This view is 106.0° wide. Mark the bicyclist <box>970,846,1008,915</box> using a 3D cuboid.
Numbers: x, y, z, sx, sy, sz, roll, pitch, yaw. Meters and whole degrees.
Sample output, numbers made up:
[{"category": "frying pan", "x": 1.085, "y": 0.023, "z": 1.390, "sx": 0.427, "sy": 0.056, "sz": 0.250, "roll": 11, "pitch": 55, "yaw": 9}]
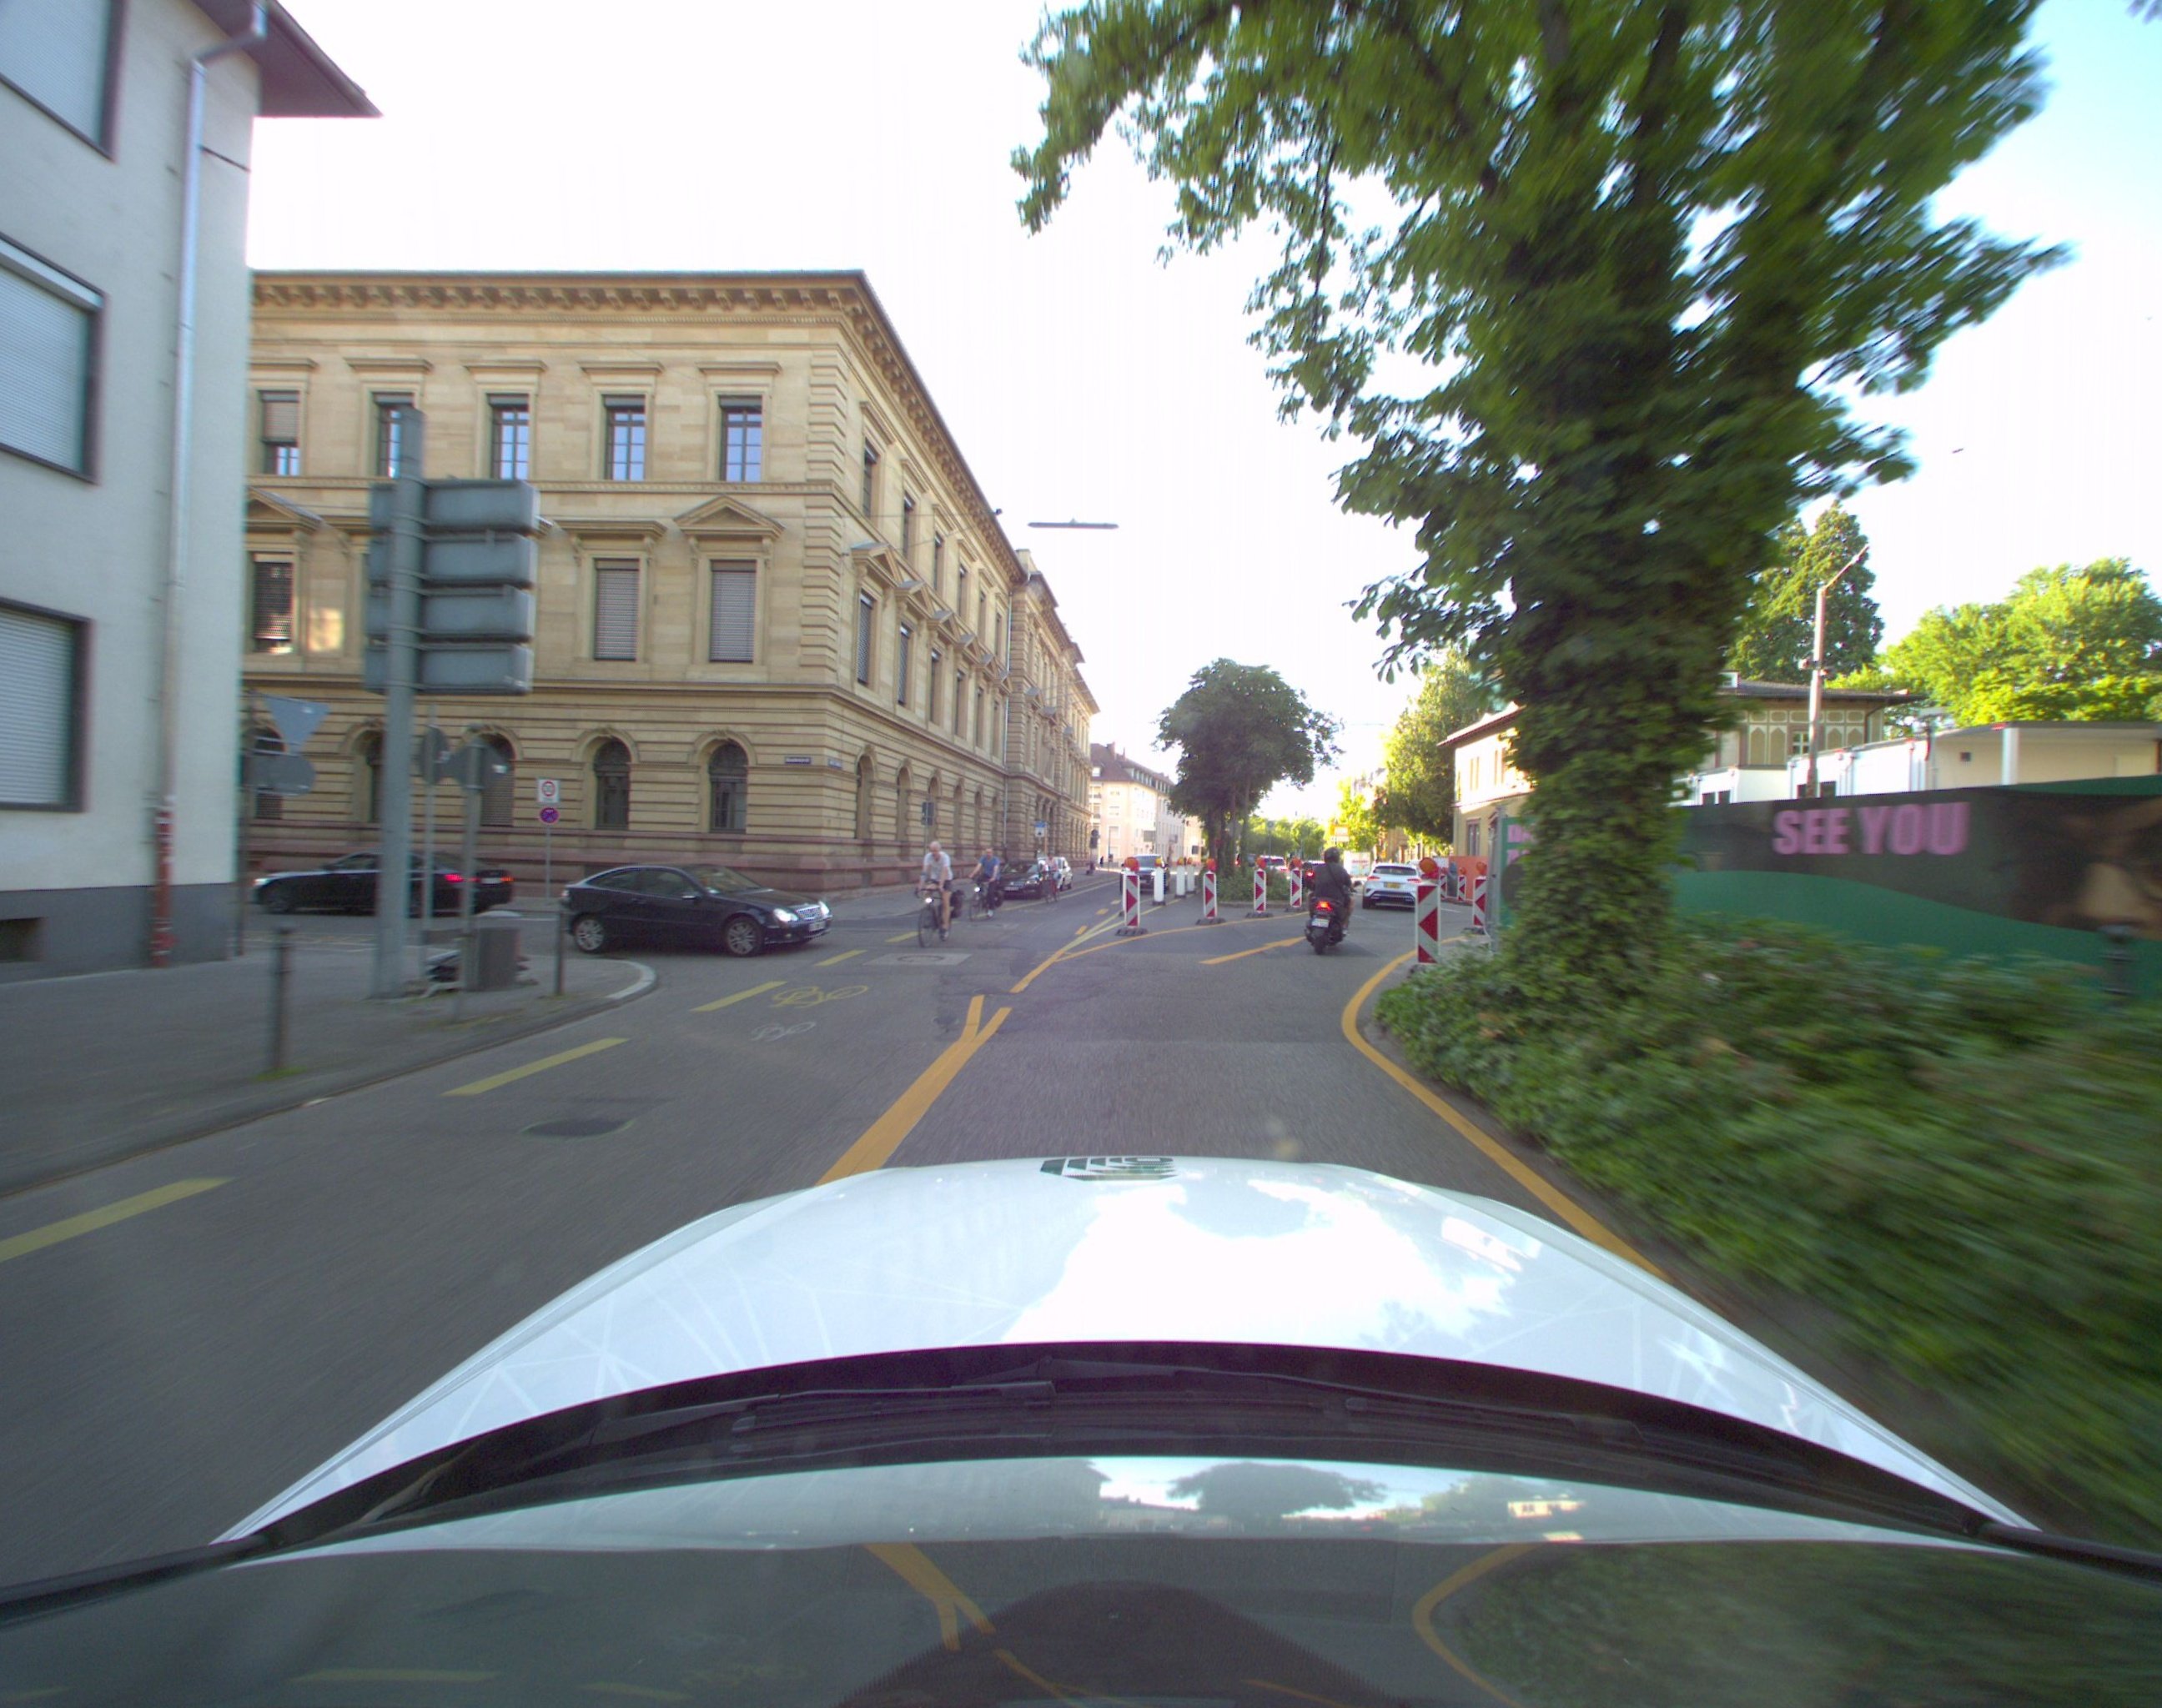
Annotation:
[{"category": "bicyclist", "x": -2.200, "y": 0.630, "z": 19.603, "sx": 0.624, "sy": 1.613, "sz": 0.873, "roll": 0, "pitch": 0, "yaw": 14}]

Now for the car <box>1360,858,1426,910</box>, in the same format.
[{"category": "car", "x": 10.164, "y": 0.903, "z": 26.367, "sx": 1.834, "sy": 1.480, "sz": 4.080, "roll": -1, "pitch": 0, "yaw": 23}]

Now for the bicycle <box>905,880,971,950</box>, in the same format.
[{"category": "bicycle", "x": -2.436, "y": 1.018, "z": 14.119, "sx": 0.580, "sy": 1.035, "sz": 2.132, "roll": 0, "pitch": 0, "yaw": 5}]

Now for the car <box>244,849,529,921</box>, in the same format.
[{"category": "car", "x": -14.795, "y": 0.626, "z": 17.565, "sx": 4.446, "sy": 1.461, "sz": 1.773, "roll": 0, "pitch": 0, "yaw": -4}]

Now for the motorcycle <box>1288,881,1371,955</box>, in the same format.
[{"category": "motorcycle", "x": 4.049, "y": 0.997, "z": 13.175, "sx": 0.789, "sy": 1.066, "sz": 1.736, "roll": 2, "pitch": 0, "yaw": 33}]

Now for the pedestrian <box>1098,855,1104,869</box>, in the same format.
[{"category": "pedestrian", "x": 2.244, "y": 0.906, "z": 90.728, "sx": 0.663, "sy": 1.553, "sz": 0.650, "roll": 0, "pitch": 0, "yaw": 3}]

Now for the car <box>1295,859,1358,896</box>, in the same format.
[{"category": "car", "x": 10.690, "y": 0.984, "z": 35.743, "sx": 1.831, "sy": 1.463, "sz": 4.063, "roll": 2, "pitch": 0, "yaw": 5}]

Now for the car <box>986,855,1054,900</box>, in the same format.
[{"category": "car", "x": -2.196, "y": 0.814, "z": 30.613, "sx": 1.985, "sy": 1.567, "sz": 4.293, "roll": 0, "pitch": 0, "yaw": 3}]

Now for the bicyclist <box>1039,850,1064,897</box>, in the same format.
[{"category": "bicyclist", "x": -0.997, "y": 0.650, "z": 27.733, "sx": 0.623, "sy": 1.554, "sz": 0.735, "roll": 0, "pitch": 0, "yaw": 19}]

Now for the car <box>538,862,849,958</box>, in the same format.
[{"category": "car", "x": -6.221, "y": 0.845, "z": 13.309, "sx": 4.288, "sy": 1.390, "sz": 1.780, "roll": 0, "pitch": 0, "yaw": 8}]

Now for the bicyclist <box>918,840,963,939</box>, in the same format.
[{"category": "bicyclist", "x": -2.433, "y": 0.593, "z": 14.156, "sx": 0.563, "sy": 1.667, "sz": 0.836, "roll": 0, "pitch": 0, "yaw": 6}]

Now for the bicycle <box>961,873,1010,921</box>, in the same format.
[{"category": "bicycle", "x": -2.260, "y": 1.012, "z": 19.580, "sx": 0.529, "sy": 1.035, "sz": 1.914, "roll": 0, "pitch": 0, "yaw": 14}]

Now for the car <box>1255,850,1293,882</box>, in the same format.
[{"category": "car", "x": 12.205, "y": 0.741, "z": 51.678, "sx": 1.831, "sy": 1.912, "sz": 4.065, "roll": 2, "pitch": 0, "yaw": 7}]

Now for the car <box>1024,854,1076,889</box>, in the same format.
[{"category": "car", "x": -1.365, "y": 0.772, "z": 37.798, "sx": 1.985, "sy": 1.528, "sz": 4.188, "roll": 0, "pitch": 0, "yaw": 3}]

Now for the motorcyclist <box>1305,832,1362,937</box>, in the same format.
[{"category": "motorcyclist", "x": 4.143, "y": 0.486, "z": 13.352, "sx": 0.651, "sy": 1.650, "sz": 0.655, "roll": 2, "pitch": 0, "yaw": 36}]

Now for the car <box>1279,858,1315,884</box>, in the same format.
[{"category": "car", "x": 15.202, "y": 1.147, "z": 57.480, "sx": 1.831, "sy": 1.699, "sz": 4.065, "roll": 2, "pitch": 0, "yaw": 7}]

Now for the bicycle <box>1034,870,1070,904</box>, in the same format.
[{"category": "bicycle", "x": -0.972, "y": 1.098, "z": 27.673, "sx": 0.528, "sy": 1.035, "sz": 2.046, "roll": 0, "pitch": 0, "yaw": 19}]

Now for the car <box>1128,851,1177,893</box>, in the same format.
[{"category": "car", "x": 3.029, "y": 0.736, "z": 35.315, "sx": 1.985, "sy": 1.695, "sz": 4.403, "roll": 0, "pitch": 0, "yaw": 3}]
